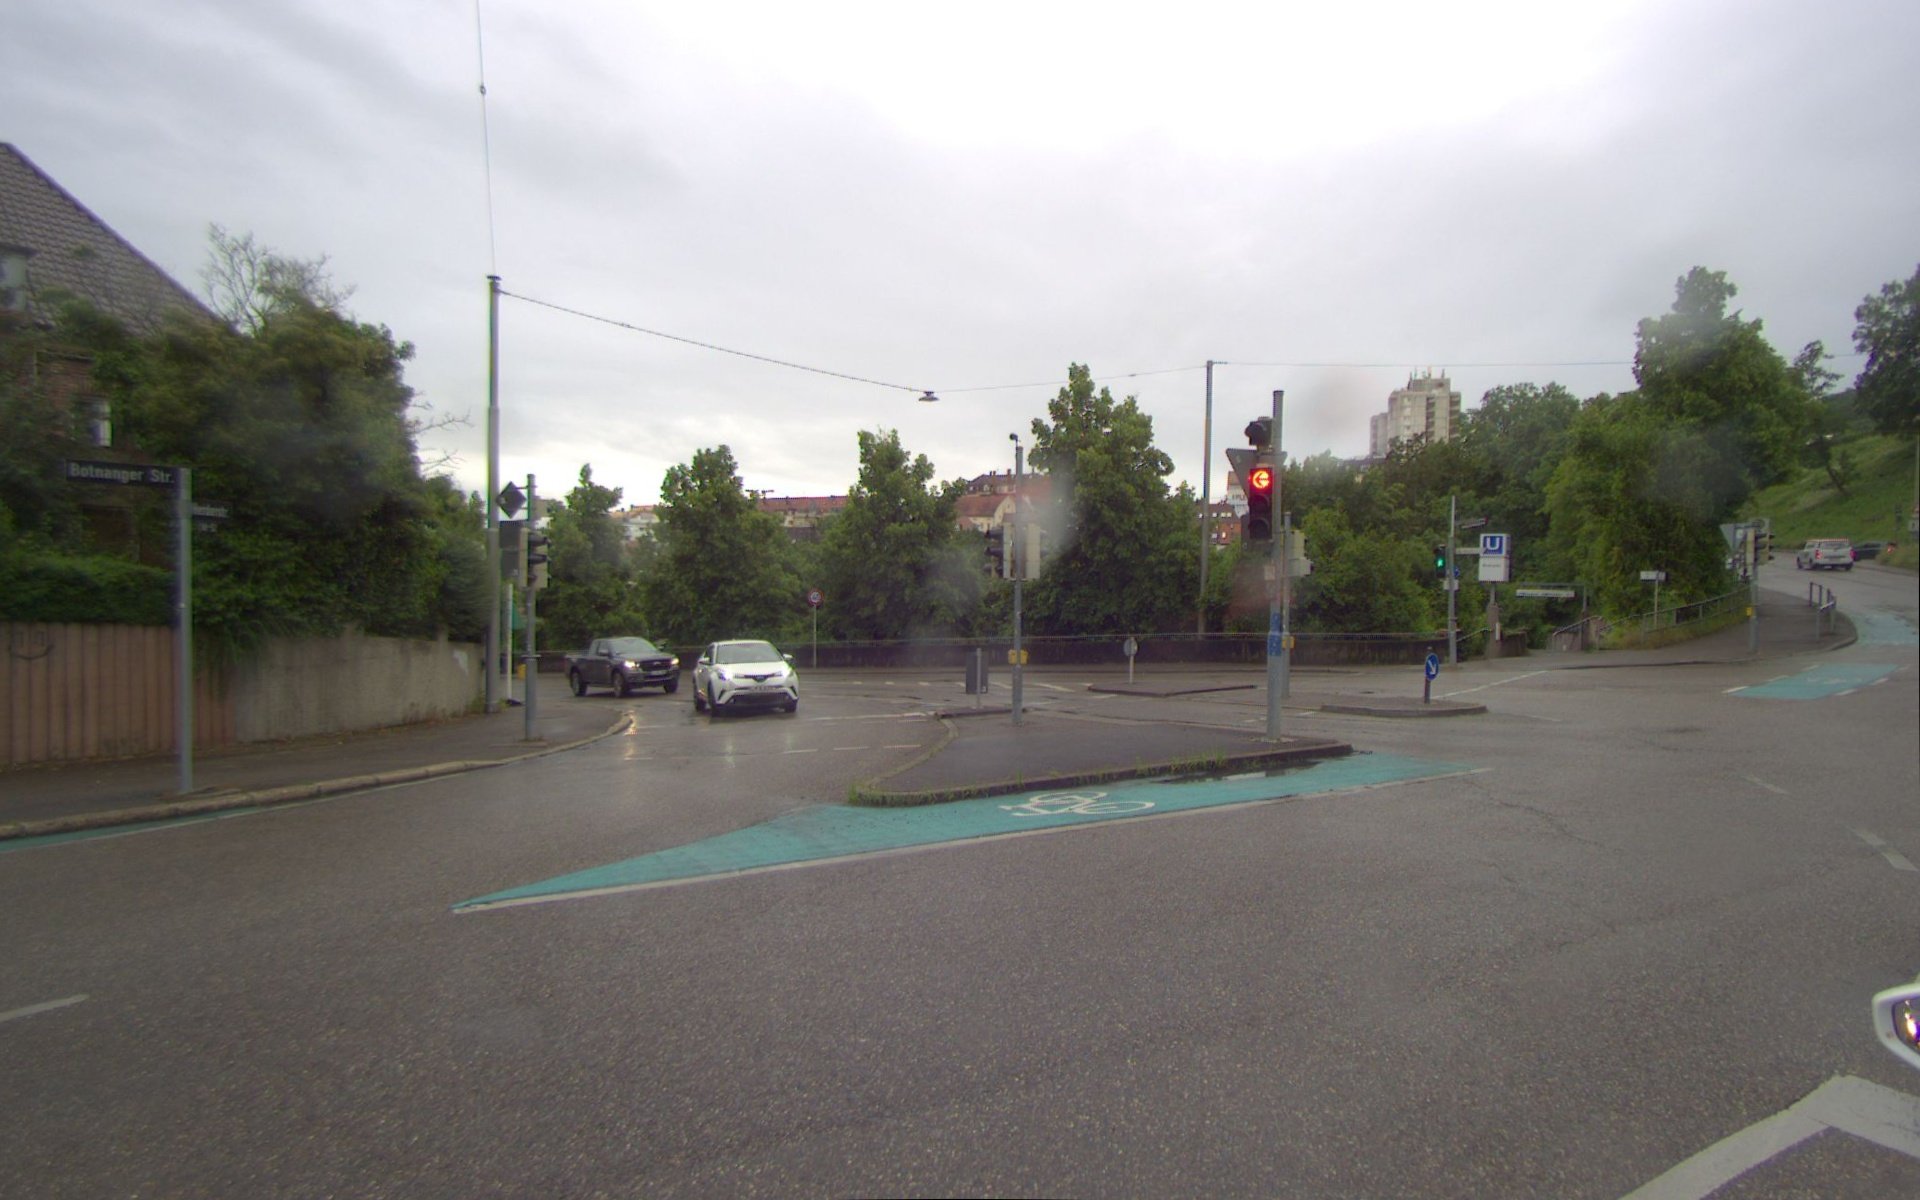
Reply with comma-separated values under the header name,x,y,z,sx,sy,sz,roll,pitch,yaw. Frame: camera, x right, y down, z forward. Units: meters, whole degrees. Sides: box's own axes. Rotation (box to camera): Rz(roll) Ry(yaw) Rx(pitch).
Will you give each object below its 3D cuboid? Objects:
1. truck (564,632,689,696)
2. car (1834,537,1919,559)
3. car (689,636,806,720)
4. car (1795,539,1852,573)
name,x,y,z,sx,sy,sz,roll,pitch,yaw
truck,-10.723,2.084,32.077,1.894,1.809,4.929,-1,-3,-42
car,66.939,-3.767,73.321,1.930,1.532,4.389,-1,2,-16
car,-4.651,1.636,21.592,1.810,1.527,3.866,-2,-2,-21
car,56.203,-2.829,65.458,2.036,2.033,4.803,1,1,31
